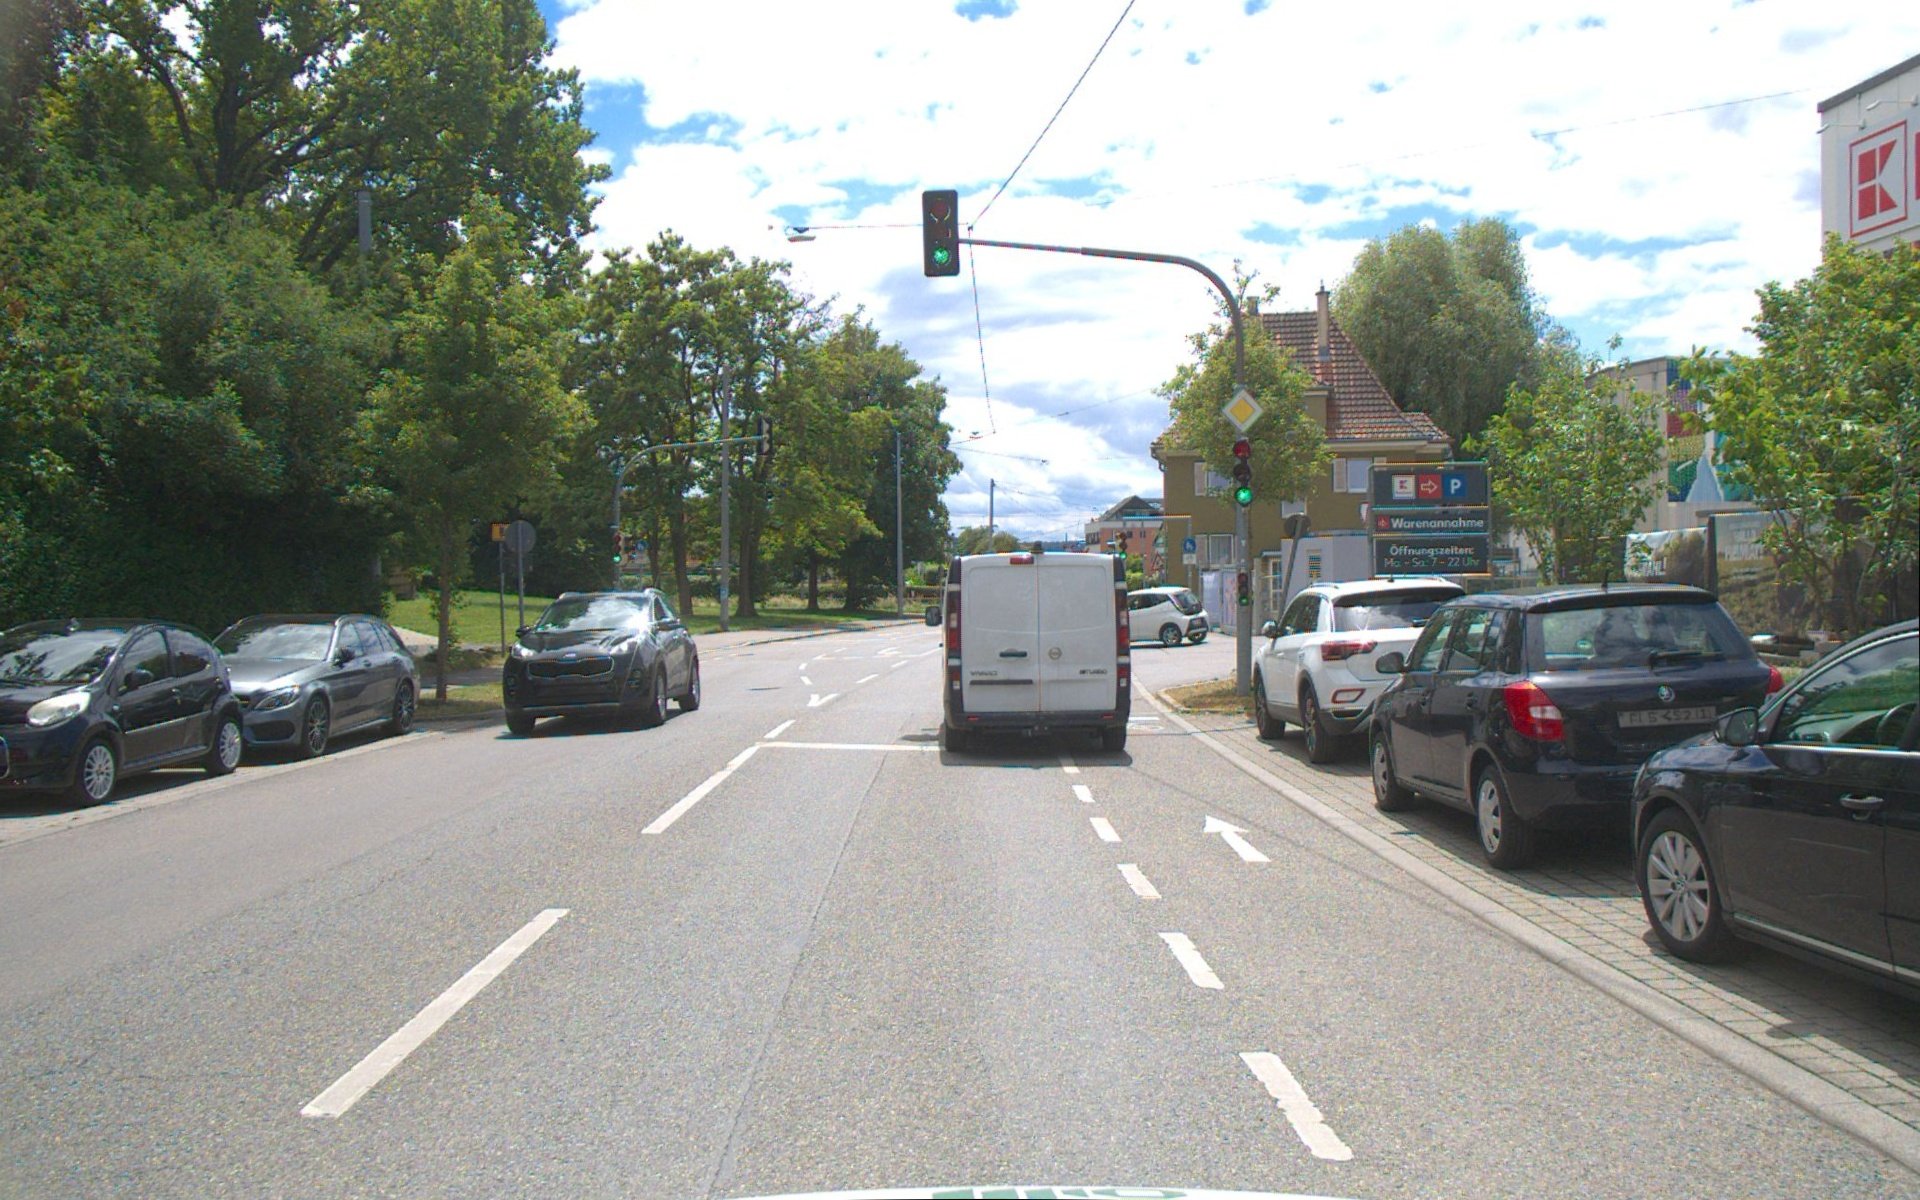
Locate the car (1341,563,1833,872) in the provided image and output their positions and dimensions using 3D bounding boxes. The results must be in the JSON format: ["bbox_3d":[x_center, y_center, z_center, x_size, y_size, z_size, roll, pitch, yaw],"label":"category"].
[{"bbox_3d":[3.679,0.603,10.486,1.536,1.519,4.000,-2,0,0],"label":"car"}]

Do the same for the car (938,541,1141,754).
[{"bbox_3d":[0.720,0.442,18.048,1.899,1.995,4.832,1,0,-1],"label":"car"}]

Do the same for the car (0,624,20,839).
[{"bbox_3d":[-7.399,0.911,9.601,1.616,1.476,4.104,0,0,-1],"label":"car"}]

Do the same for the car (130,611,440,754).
[{"bbox_3d":[-7.443,0.836,18.778,1.660,1.389,4.685,0,0,-1],"label":"car"}]

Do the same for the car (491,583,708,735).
[{"bbox_3d":[-4.403,0.662,20.825,1.796,1.645,4.151,-3,0,-1],"label":"car"}]

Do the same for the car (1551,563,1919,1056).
[{"bbox_3d":[3.842,0.631,5.462,1.730,1.502,4.933,-4,0,-3],"label":"car"}]

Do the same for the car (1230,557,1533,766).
[{"bbox_3d":[3.907,0.519,16.114,1.702,1.644,4.386,-4,0,-1],"label":"car"}]

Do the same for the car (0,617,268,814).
[{"bbox_3d":[-7.597,0.904,14.468,1.562,1.476,3.596,0,0,0],"label":"car"}]

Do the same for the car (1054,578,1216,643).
[{"bbox_3d":[4.547,0.278,43.229,3.913,1.634,1.605,0,0,30],"label":"car"}]
